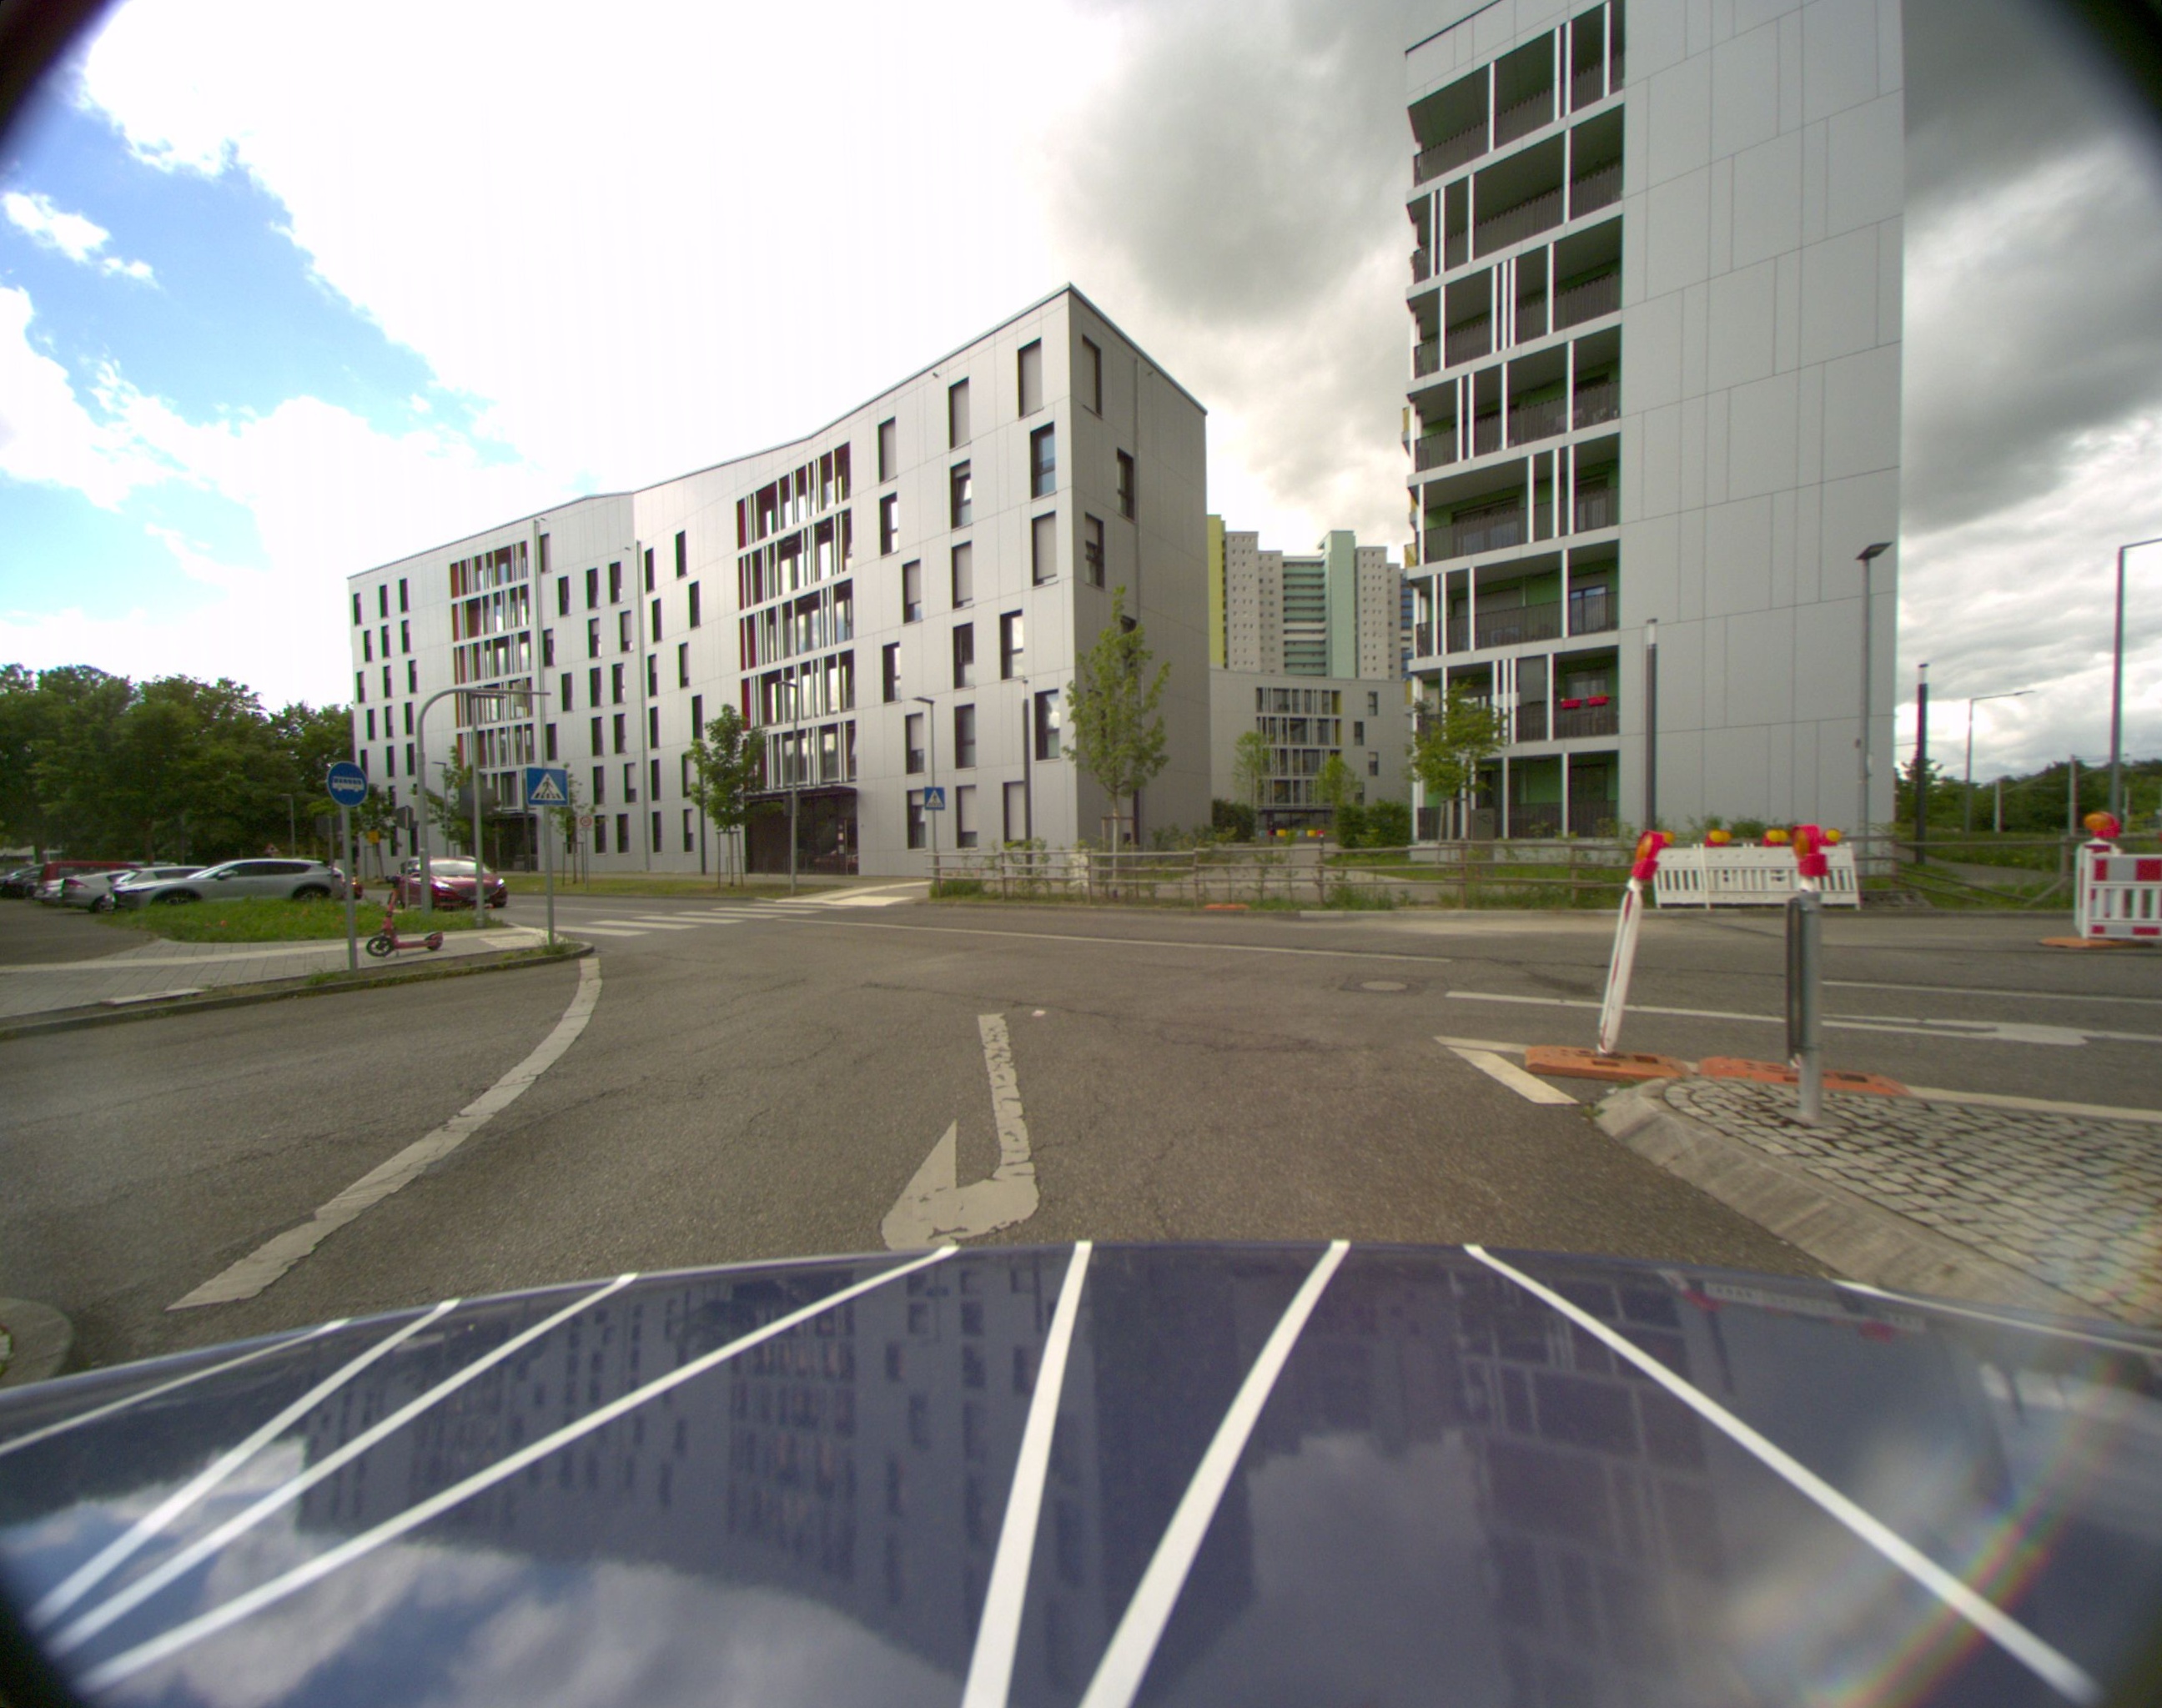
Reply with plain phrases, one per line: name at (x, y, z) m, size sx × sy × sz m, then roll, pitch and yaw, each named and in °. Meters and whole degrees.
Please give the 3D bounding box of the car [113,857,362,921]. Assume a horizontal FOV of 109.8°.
car at (-25.214, 0.970, 22.941) m, size 2.064 × 1.741 × 4.673 m, roll -1°, pitch -1°, yaw 30°

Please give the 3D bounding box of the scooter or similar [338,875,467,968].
scooter or similar at (-10.710, 1.029, 12.071) m, size 0.572 × 1.306 × 1.525 m, roll -2°, pitch 2°, yaw 2°

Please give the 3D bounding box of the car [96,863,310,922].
car at (-27.691, 1.149, 24.129) m, size 1.791 × 1.577 × 4.176 m, roll -1°, pitch 1°, yaw 32°

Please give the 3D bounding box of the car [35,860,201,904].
car at (-44.680, 1.232, 35.379) m, size 1.879 × 1.887 × 4.575 m, roll -1°, pitch -1°, yaw 32°

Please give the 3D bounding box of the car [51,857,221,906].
car at (-40.181, 1.096, 32.423) m, size 1.832 × 1.881 × 4.303 m, roll -1°, pitch 0°, yaw 32°

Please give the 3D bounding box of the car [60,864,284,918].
car at (-29.862, 1.153, 25.140) m, size 1.906 × 1.553 × 4.501 m, roll -1°, pitch 0°, yaw 32°

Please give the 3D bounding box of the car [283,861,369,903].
car at (-31.952, 1.133, 32.127) m, size 3.988 × 1.609 × 1.822 m, roll 0°, pitch 3°, yaw 35°

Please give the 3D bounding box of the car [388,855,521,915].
car at (-19.534, 0.905, 23.664) m, size 4.230 × 1.623 × 1.937 m, roll 0°, pitch 3°, yaw 33°
